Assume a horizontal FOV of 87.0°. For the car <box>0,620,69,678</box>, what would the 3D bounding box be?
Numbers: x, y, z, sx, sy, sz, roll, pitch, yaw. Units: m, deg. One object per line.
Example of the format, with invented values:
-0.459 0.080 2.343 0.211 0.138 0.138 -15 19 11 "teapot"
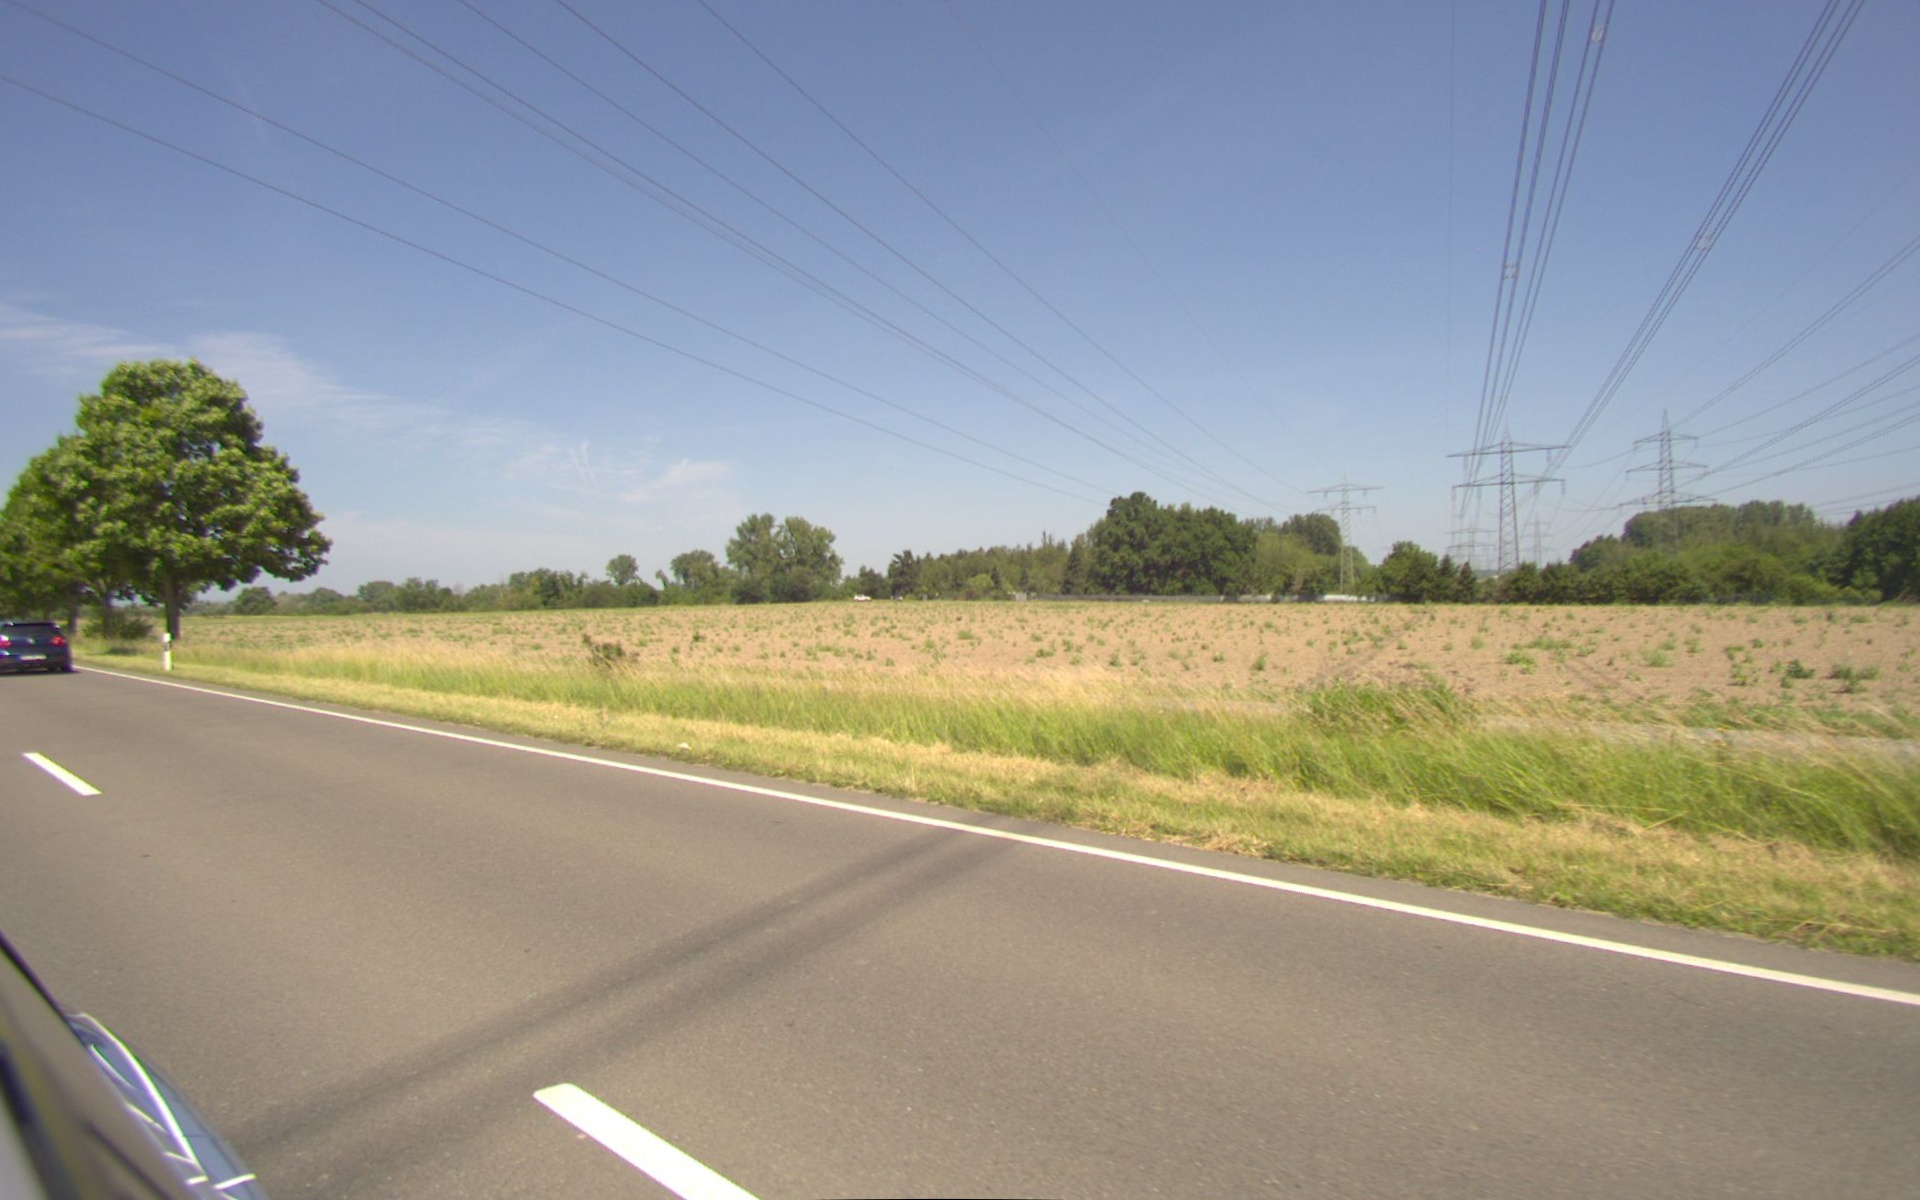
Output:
-25.827 1.306 27.718 4.000 1.458 1.716 -1 0 43 "car"
